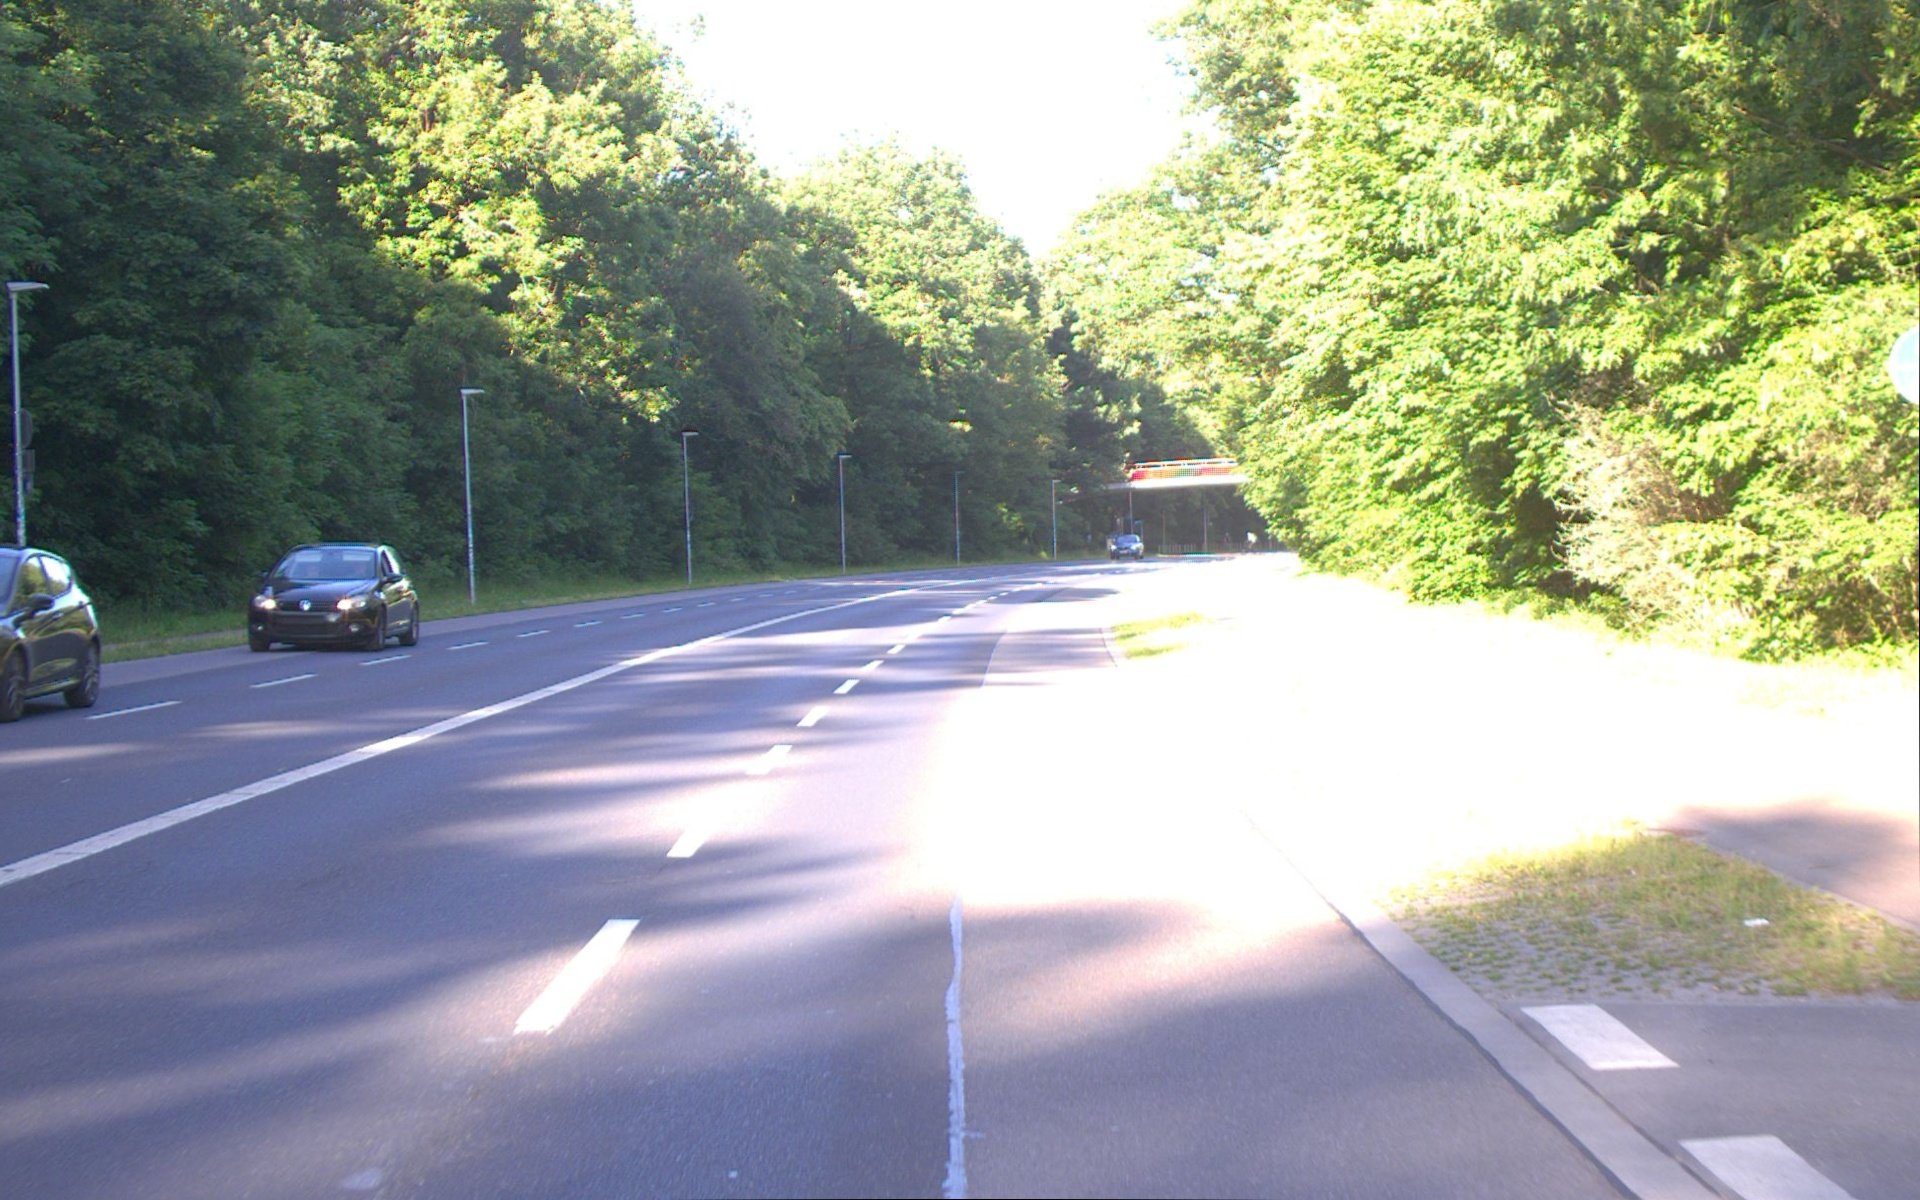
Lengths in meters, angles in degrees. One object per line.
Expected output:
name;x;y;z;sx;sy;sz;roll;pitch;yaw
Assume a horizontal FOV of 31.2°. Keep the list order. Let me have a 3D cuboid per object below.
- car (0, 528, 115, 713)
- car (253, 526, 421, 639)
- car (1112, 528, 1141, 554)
car;-8.540;0.114;29.400;1.738;1.452;4.000;1;1;-2
car;-8.446;-0.257;46.905;1.657;1.475;4.173;0;1;-2
car;10.973;-3.900;226.902;1.808;1.657;4.521;0;1;4
